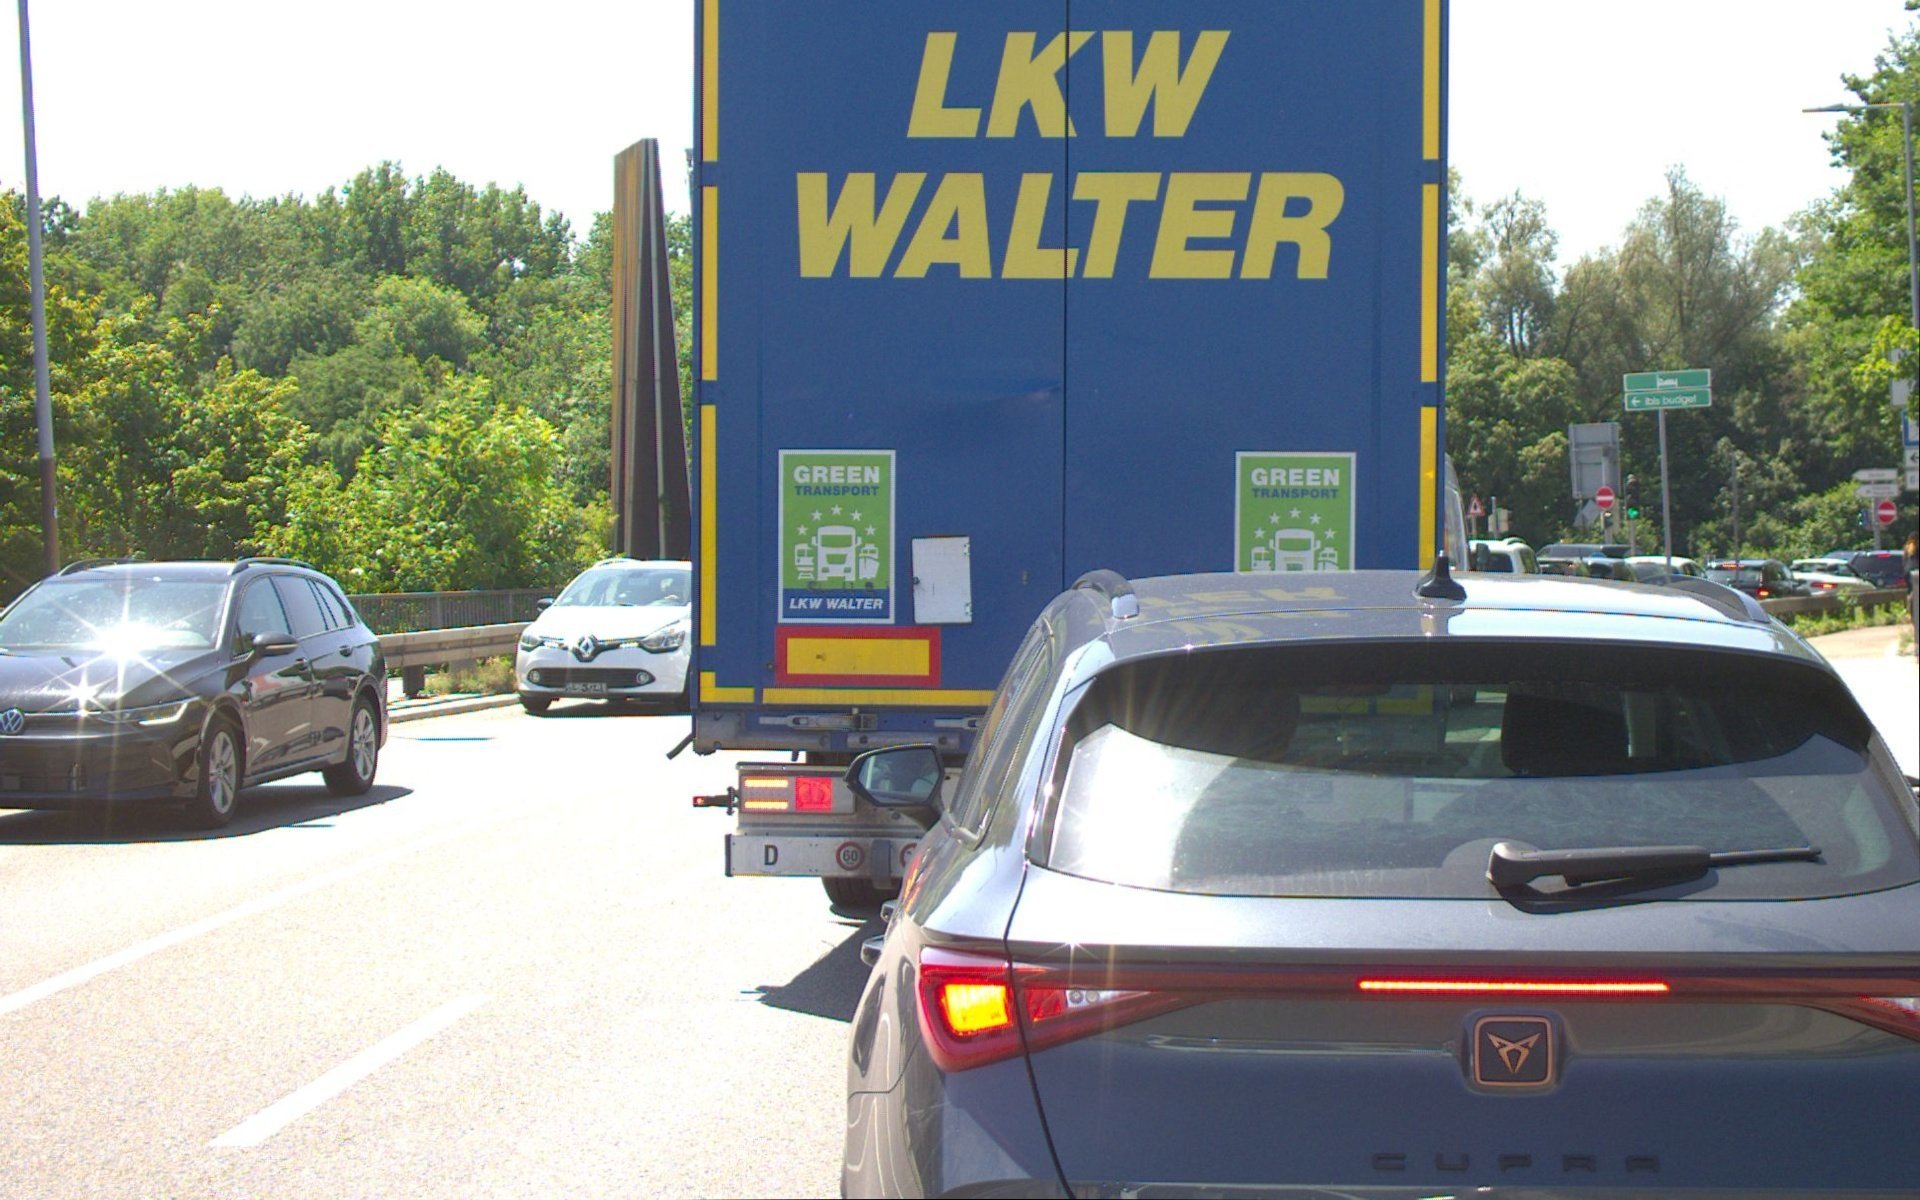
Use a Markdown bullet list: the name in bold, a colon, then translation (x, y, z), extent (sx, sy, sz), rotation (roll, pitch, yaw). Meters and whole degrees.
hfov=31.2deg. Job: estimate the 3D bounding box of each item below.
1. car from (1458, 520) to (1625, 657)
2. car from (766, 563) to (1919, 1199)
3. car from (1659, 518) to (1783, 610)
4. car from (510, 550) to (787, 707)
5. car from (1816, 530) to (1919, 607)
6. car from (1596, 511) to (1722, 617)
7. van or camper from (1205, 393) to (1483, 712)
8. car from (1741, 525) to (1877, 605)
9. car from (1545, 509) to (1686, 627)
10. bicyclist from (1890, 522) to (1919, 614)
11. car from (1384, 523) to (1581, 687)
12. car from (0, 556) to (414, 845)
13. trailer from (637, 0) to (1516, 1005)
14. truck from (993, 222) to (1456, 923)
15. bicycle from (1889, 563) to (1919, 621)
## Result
- **car**: translation (8.041, -0.191, 47.301), extent (1.722, 1.796, 3.997), rotation (0, 1, 18)
- **car**: translation (0.676, 0.673, 5.934), extent (1.677, 1.451, 3.958), rotation (0, 1, 2)
- **car**: translation (15.120, -0.705, 68.141), extent (1.687, 1.754, 3.995), rotation (0, 0, 23)
- **car**: translation (-2.984, 0.236, 33.740), extent (1.600, 1.444, 4.054), rotation (0, 1, 12)
- **car**: translation (21.361, -0.720, 80.349), extent (1.688, 1.754, 3.994), rotation (0, 0, 28)
- **car**: translation (12.536, -0.669, 61.489), extent (1.722, 1.837, 3.996), rotation (0, 1, 19)
- **van or camper**: translation (3.867, -0.485, 33.602), extent (2.155, 2.806, 6.384), rotation (0, 1, 11)
- **car**: translation (18.404, -0.750, 74.420), extent (1.996, 1.570, 3.994), rotation (2, 0, 26)
- **car**: translation (10.696, -0.542, 55.920), extent (1.722, 1.837, 3.996), rotation (0, 1, 19)
- **bicyclist**: translation (17.721, -0.597, 64.147), extent (0.578, 1.677, 0.729), rotation (-3, 0, 9)
- **car**: translation (6.279, 0.006, 40.985), extent (1.722, 1.837, 3.997), rotation (0, 2, 18)
- **car**: translation (-4.659, 0.488, 20.004), extent (1.710, 1.464, 4.458), rotation (0, 1, 8)
- **trailer**: translation (1.137, -1.007, 17.545), extent (2.905, 4.403, 12.430), rotation (0, 1, 7)
- **truck**: translation (2.080, -0.242, 25.037), extent (2.905, 4.403, 6.554), rotation (0, 1, 7)
- **bicycle**: translation (17.744, -0.150, 64.170), extent (0.582, 1.032, 1.484), rotation (-3, 0, 9)
